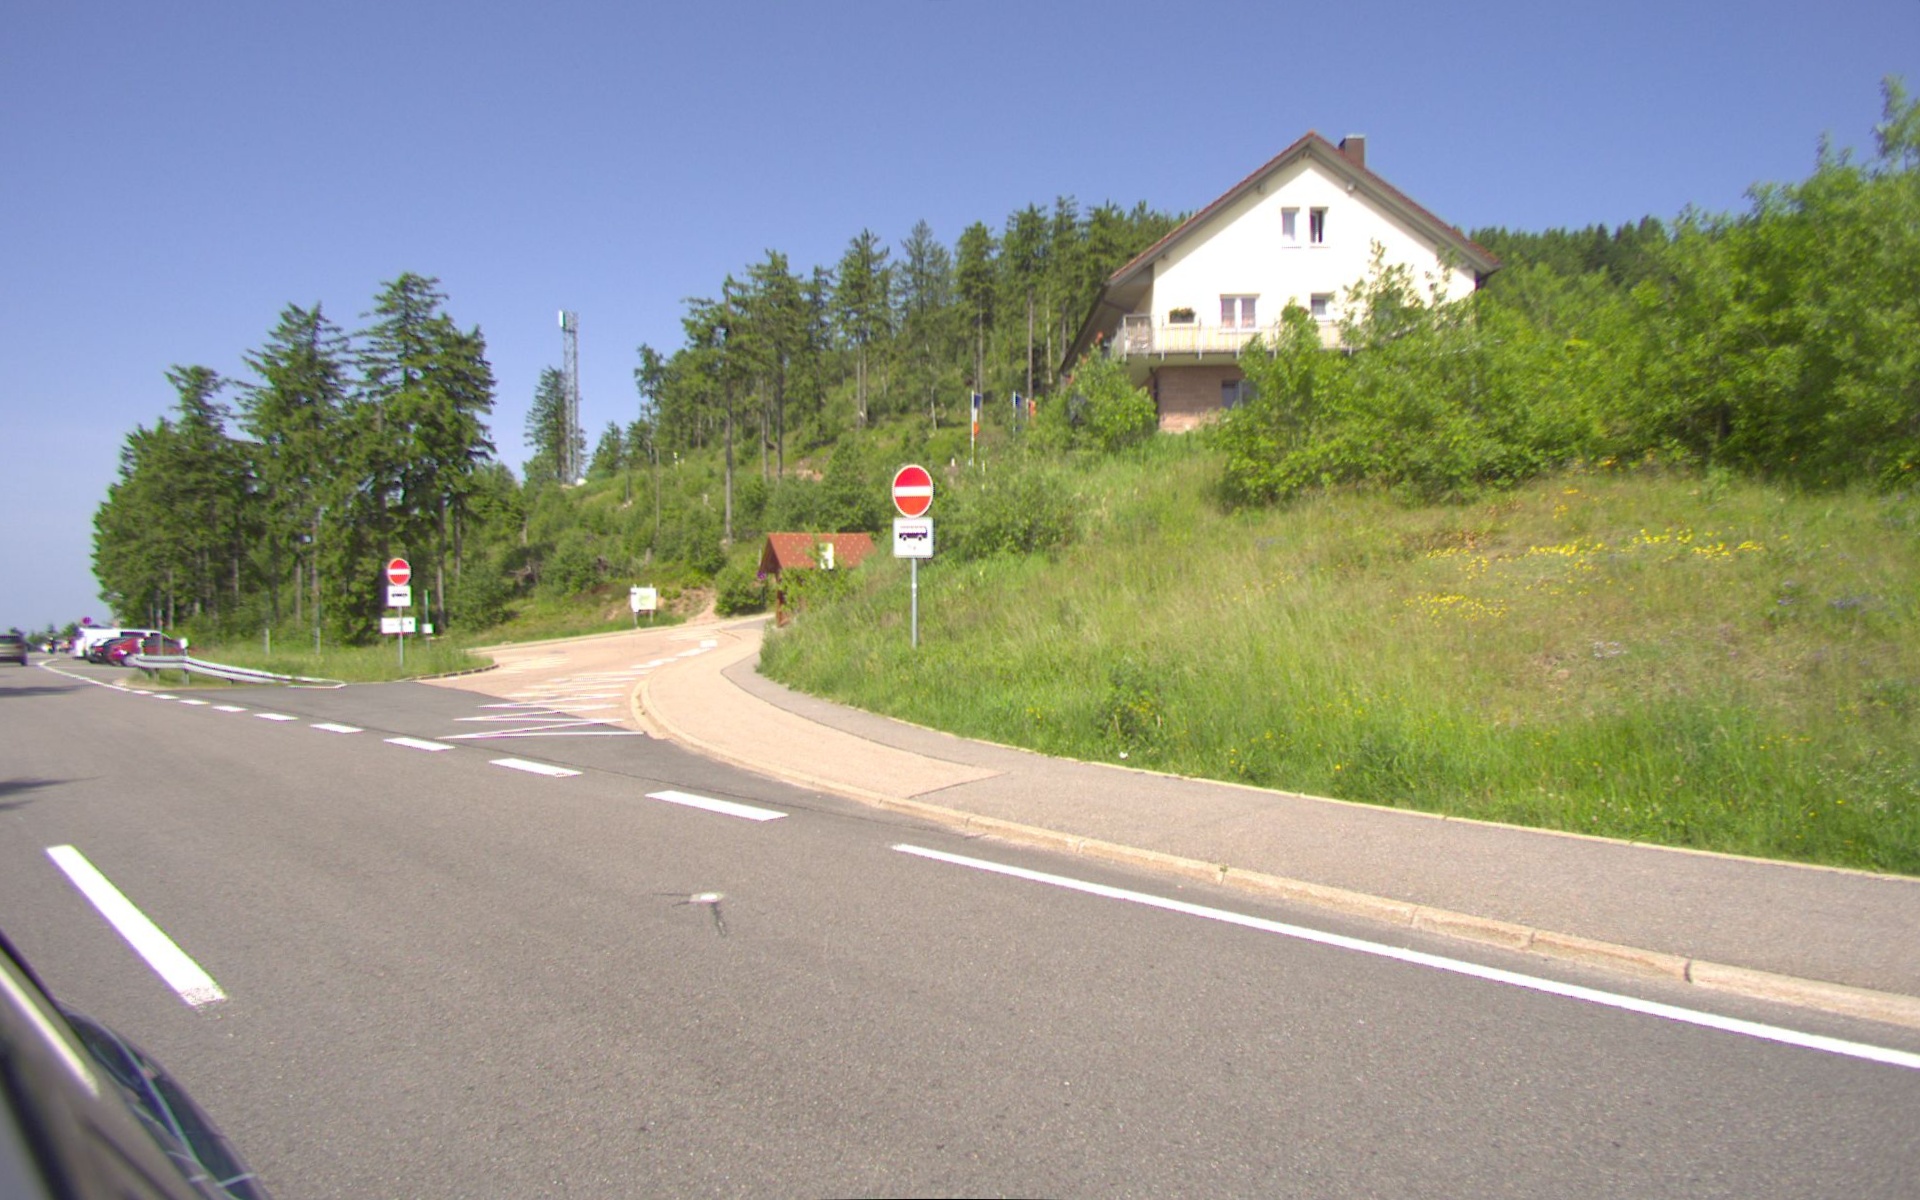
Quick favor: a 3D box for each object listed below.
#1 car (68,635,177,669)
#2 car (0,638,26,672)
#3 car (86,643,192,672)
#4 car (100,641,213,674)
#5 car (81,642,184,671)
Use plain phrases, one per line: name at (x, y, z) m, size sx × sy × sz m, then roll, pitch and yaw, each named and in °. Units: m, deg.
car at (-49.100, 3.014, 59.413) m, size 1.931 × 1.896 × 4.668 m, roll -2°, pitch -3°, yaw 41°
car at (-48.240, 2.728, 50.745) m, size 1.970 × 1.608 × 4.003 m, roll 1°, pitch -2°, yaw -44°
car at (-41.393, 2.890, 51.090) m, size 1.931 × 1.384 × 3.877 m, roll -2°, pitch -3°, yaw 41°
car at (-39.266, 2.787, 49.497) m, size 4.101 × 1.522 × 1.933 m, roll 3°, pitch -3°, yaw -45°
car at (-46.404, 3.129, 56.831) m, size 1.931 × 1.537 × 4.187 m, roll -2°, pitch -3°, yaw 41°
